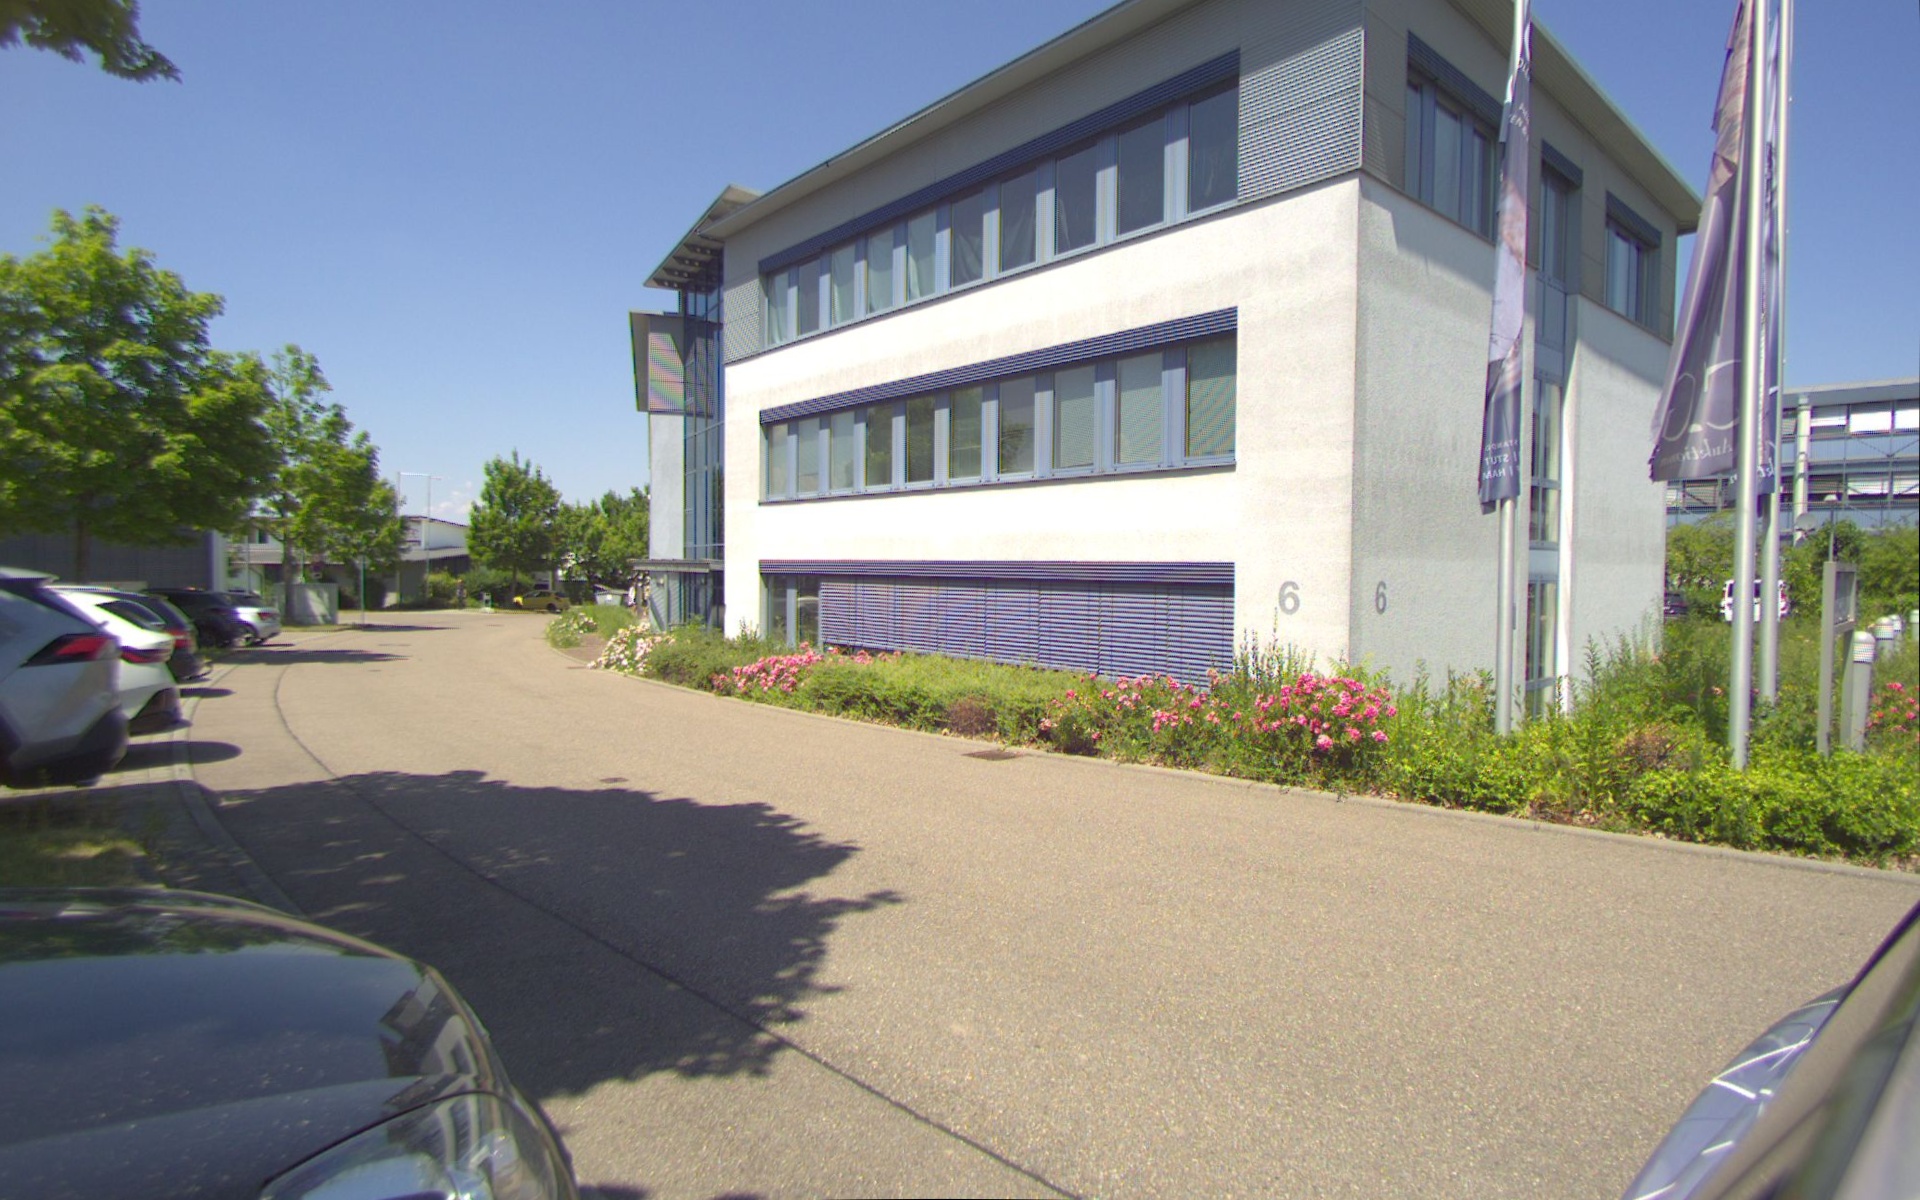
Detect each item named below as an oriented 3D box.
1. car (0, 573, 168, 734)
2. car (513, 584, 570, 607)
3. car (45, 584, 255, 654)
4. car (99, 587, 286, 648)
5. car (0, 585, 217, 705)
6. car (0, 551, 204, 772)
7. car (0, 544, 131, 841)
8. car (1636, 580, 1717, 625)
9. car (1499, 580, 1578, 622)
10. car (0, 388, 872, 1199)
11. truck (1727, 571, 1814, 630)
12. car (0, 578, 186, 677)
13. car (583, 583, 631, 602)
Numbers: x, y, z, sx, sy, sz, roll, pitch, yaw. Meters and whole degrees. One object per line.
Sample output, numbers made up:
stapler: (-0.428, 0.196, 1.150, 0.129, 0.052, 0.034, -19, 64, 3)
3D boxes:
car: (-10.122, 0.482, 9.506, 4.107, 1.505, 1.657, 1, 0, -43)
car: (-27.626, -0.289, 66.810, 3.163, 1.460, 1.585, 0, 1, 10)
car: (-18.792, 0.431, 23.682, 3.515, 1.545, 1.638, 1, 0, -25)
car: (-19.548, 0.431, 25.952, 3.515, 1.461, 1.638, 1, 0, -25)
car: (-12.490, 0.562, 13.497, 4.098, 1.505, 1.661, 1, 0, -35)
car: (-8.384, 0.445, 7.651, 4.131, 1.664, 1.657, 1, 0, -43)
car: (-7.150, 0.497, 5.292, 4.258, 1.664, 1.853, 1, 0, -43)
car: (26.609, 0.053, 37.552, 3.935, 1.565, 1.784, -2, 1, -44)
car: (23.441, 0.011, 40.979, 3.935, 1.565, 1.784, -2, 1, -44)
car: (-2.316, 0.638, 0.391, 4.491, 1.568, 1.759, -1, 1, -45)
truck: (28.090, -0.031, 35.025, 1.994, 1.917, 3.937, 0, 1, 44)
car: (-16.111, 0.446, 17.502, 4.093, 1.625, 1.663, 1, 0, -29)
car: (-27.279, -0.568, 78.279, 3.163, 1.460, 1.585, 0, 1, 10)
